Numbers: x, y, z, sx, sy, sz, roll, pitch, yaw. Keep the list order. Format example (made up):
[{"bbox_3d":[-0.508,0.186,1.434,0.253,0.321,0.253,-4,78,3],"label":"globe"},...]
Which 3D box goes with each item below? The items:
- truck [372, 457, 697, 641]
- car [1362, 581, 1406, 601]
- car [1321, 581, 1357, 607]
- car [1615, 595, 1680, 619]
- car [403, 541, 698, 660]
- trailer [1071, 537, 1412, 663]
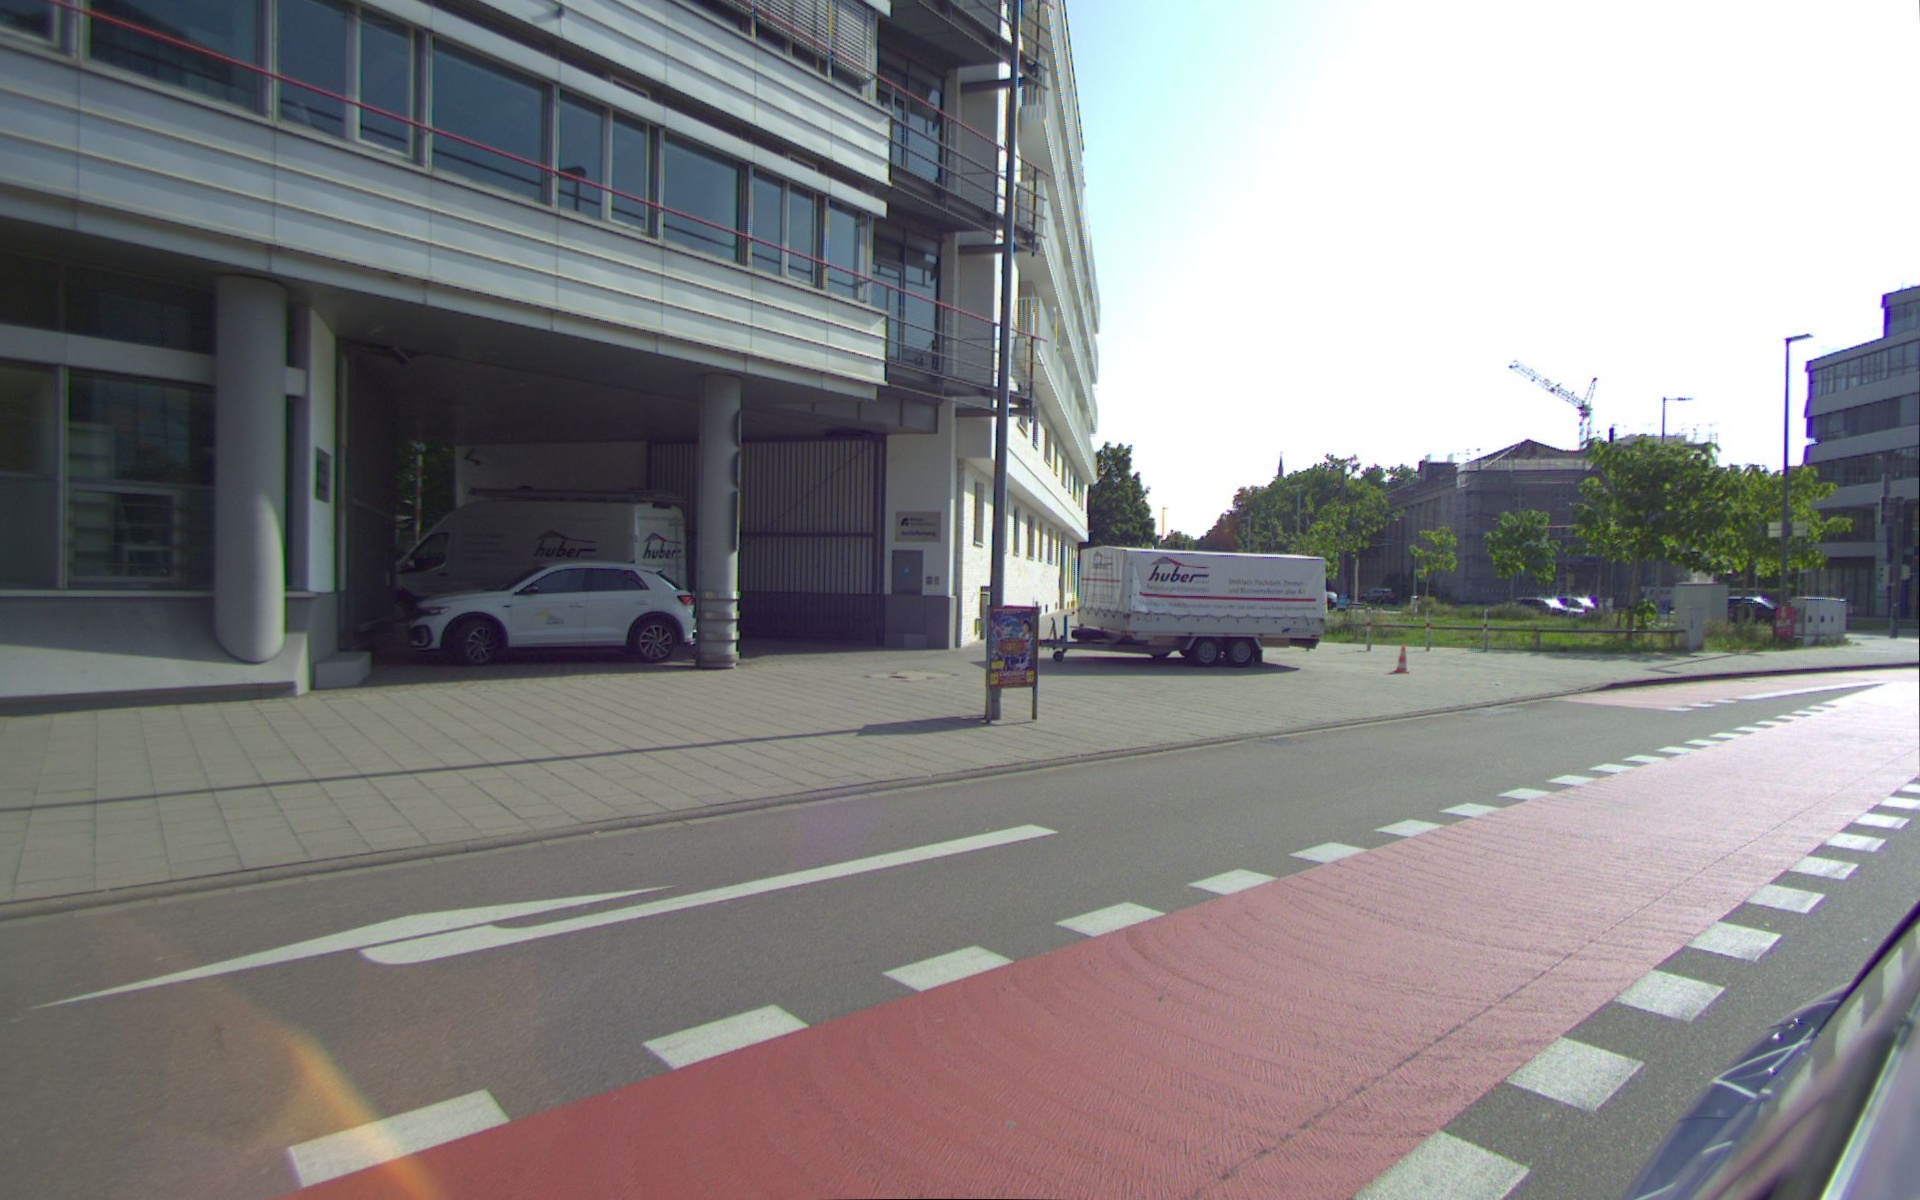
[{"bbox_3d":[-8.580,-1.096,20.427,6.066,3.134,1.991,5,3,15],"label":"truck"},{"bbox_3d":[40.896,-0.880,97.725,1.916,1.805,4.822,0,2,-5],"label":"car"},{"bbox_3d":[31.167,-0.548,83.289,1.968,2.039,3.989,1,1,10],"label":"car"},{"bbox_3d":[41.596,0.407,61.292,1.556,1.359,3.170,1,1,-7],"label":"car"},{"bbox_3d":[-6.249,0.022,15.544,3.921,1.609,1.751,1,1,-32],"label":"car"},{"bbox_3d":[5.318,0.010,19.364,5.824,2.178,2.402,1,1,-15],"label":"trailer"}]
